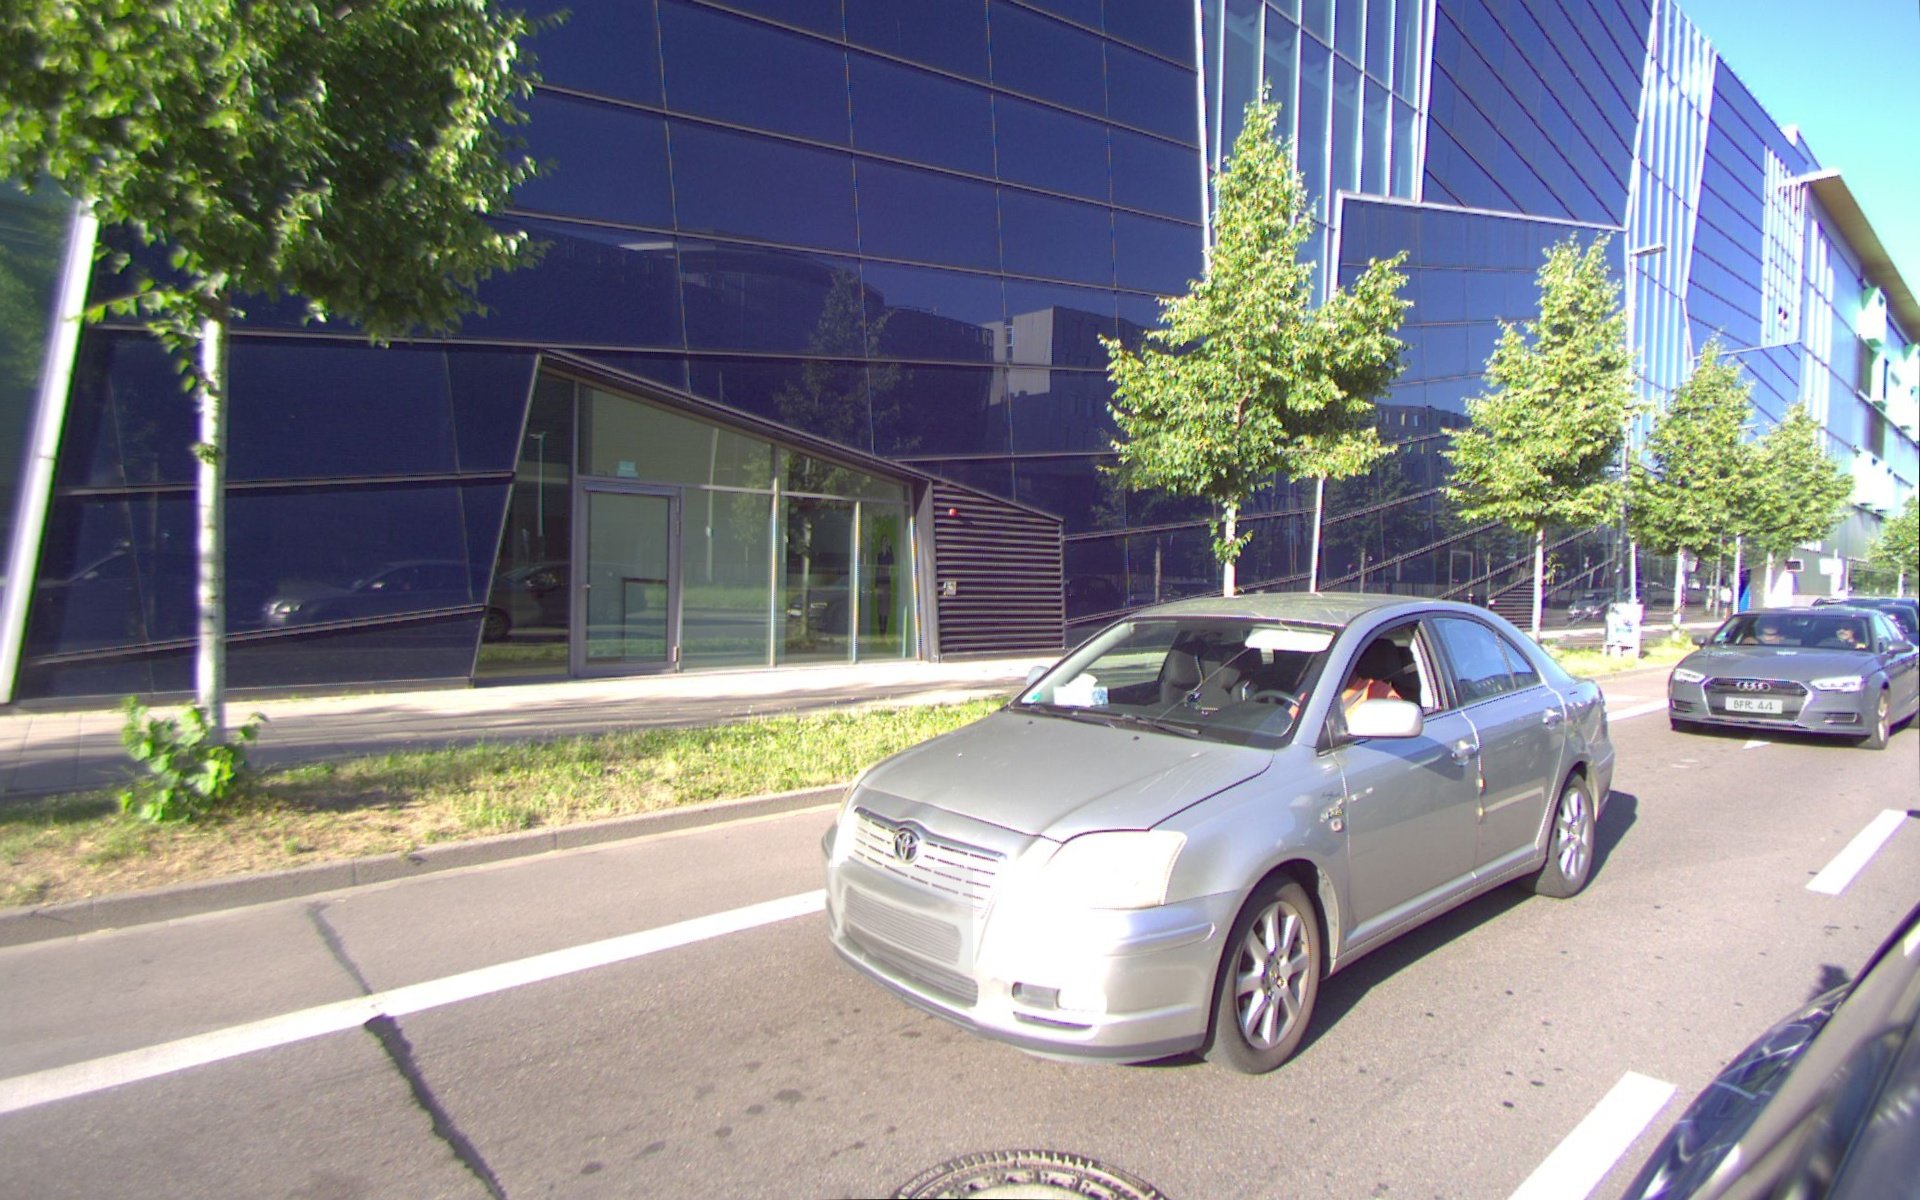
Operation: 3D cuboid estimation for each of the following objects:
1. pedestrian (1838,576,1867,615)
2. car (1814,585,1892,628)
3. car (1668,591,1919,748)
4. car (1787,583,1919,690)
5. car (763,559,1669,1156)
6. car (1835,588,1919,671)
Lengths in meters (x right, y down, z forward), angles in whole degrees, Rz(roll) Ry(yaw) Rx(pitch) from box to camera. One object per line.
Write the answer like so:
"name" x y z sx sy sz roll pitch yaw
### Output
"pedestrian" 44.632 -0.232 50.605 0.889 1.846 0.829 0 5 -41
"car" 36.030 0.233 40.802 4.633 1.516 1.739 0 4 -41
"car" 9.661 0.628 11.356 4.188 1.409 1.750 -1 1 -39
"car" 14.520 0.497 15.907 3.903 1.497 1.752 0 1 -41
"car" 1.536 0.594 4.680 4.547 1.499 1.749 -1 2 -40
"car" 18.448 0.520 19.662 3.358 1.497 1.752 0 1 -41
